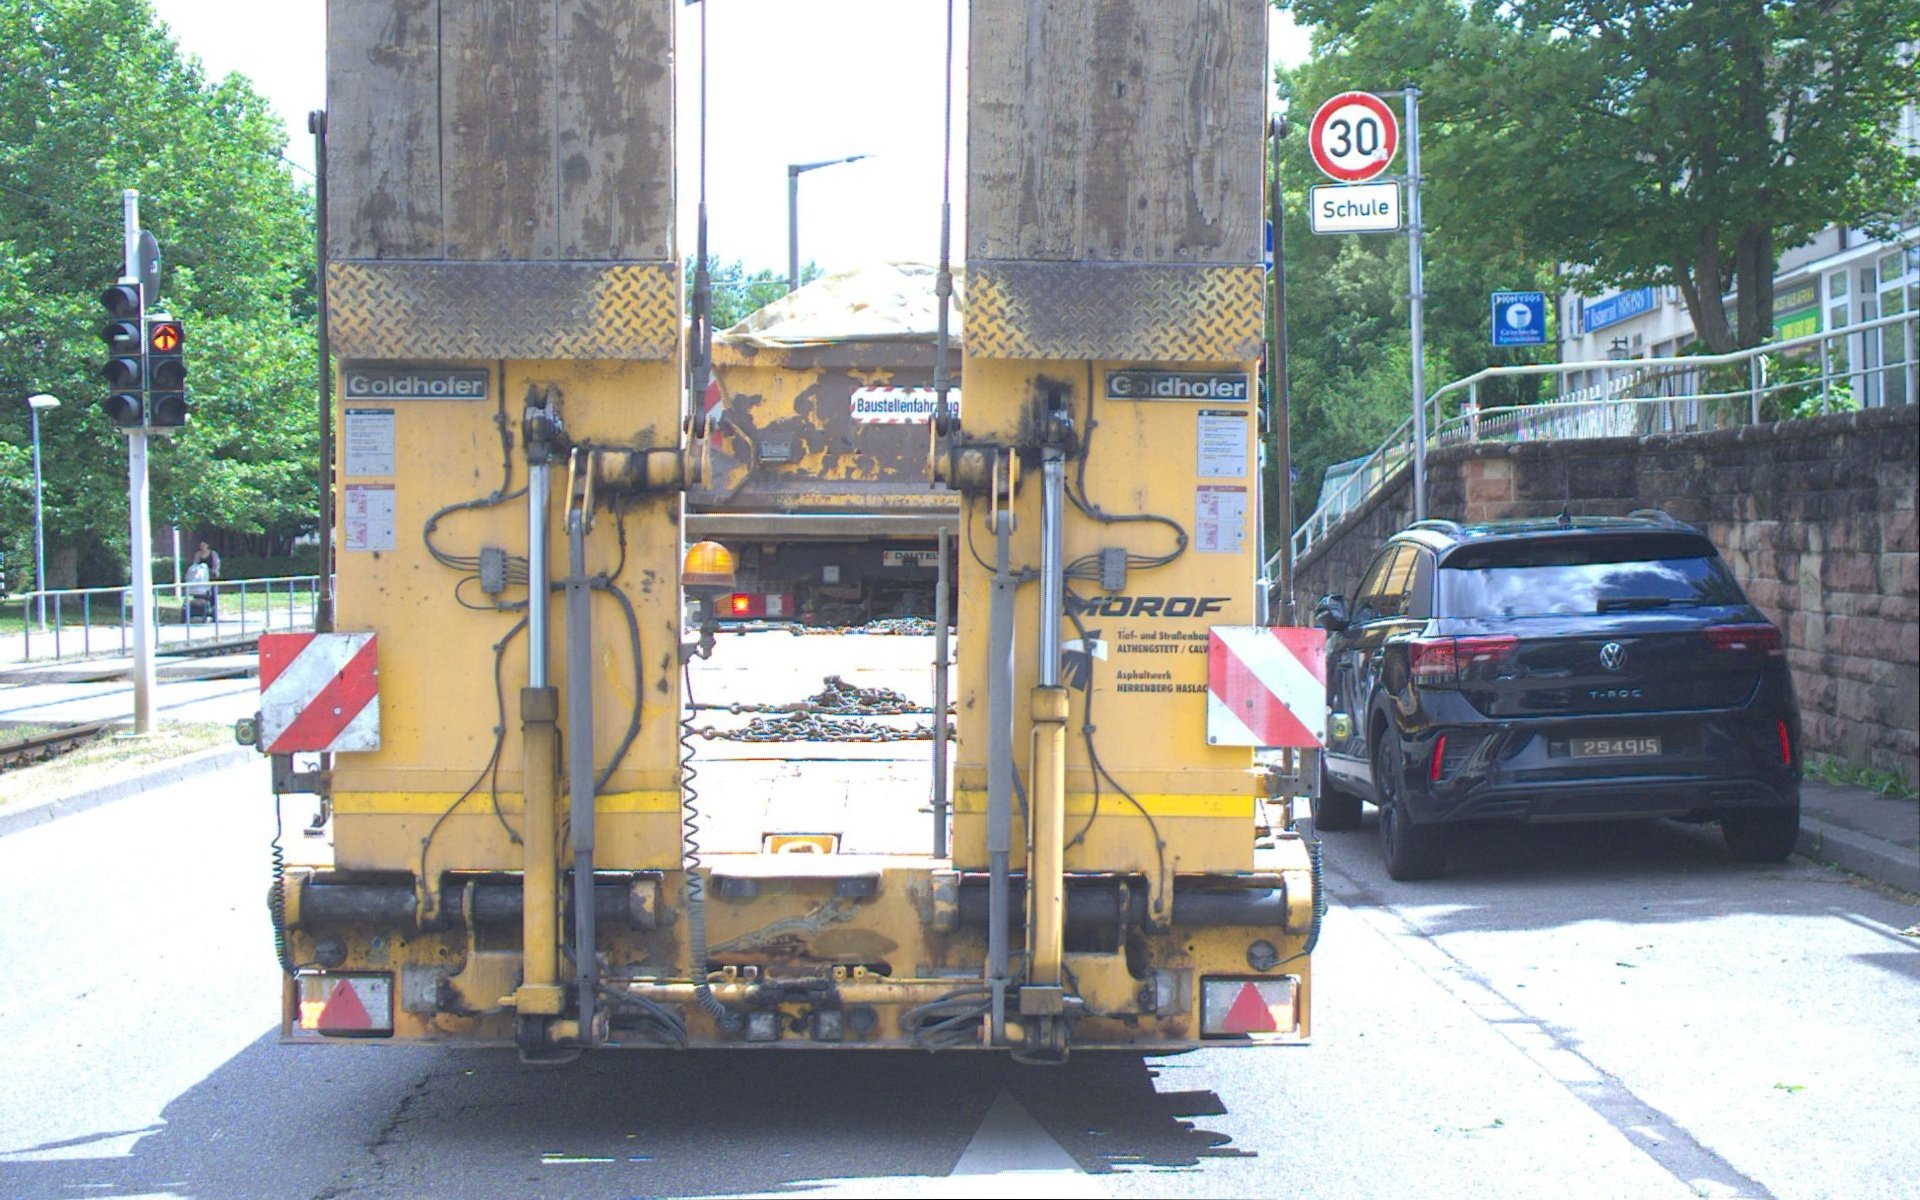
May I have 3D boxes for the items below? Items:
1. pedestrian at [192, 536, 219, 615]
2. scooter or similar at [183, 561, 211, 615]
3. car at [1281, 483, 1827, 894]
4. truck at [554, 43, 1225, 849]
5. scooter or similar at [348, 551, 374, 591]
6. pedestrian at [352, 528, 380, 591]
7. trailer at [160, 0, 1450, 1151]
[{"bbox_3d":[-14.851,-0.486,67.654,0.348,1.531,0.557,-1,1,3],"label":"pedestrian"},{"bbox_3d":[-14.876,-0.237,67.041,0.338,1.054,0.687,-1,1,2],"label":"scooter or similar"},{"bbox_3d":[2.646,0.330,16.225,1.851,1.633,4.000,-2,1,0],"label":"car"},{"bbox_3d":[-0.313,-0.738,17.849,2.942,3.560,4.877,-1,1,0],"label":"truck"},{"bbox_3d":[-14.596,-0.708,83.756,0.505,0.968,0.646,1,1,-1],"label":"scooter or similar"},{"bbox_3d":[-14.578,-0.997,84.406,0.563,1.508,0.646,1,1,-1],"label":"pedestrian"},{"bbox_3d":[-0.341,-0.627,12.311,2.945,3.589,8.684,-1,1,0],"label":"trailer"}]
